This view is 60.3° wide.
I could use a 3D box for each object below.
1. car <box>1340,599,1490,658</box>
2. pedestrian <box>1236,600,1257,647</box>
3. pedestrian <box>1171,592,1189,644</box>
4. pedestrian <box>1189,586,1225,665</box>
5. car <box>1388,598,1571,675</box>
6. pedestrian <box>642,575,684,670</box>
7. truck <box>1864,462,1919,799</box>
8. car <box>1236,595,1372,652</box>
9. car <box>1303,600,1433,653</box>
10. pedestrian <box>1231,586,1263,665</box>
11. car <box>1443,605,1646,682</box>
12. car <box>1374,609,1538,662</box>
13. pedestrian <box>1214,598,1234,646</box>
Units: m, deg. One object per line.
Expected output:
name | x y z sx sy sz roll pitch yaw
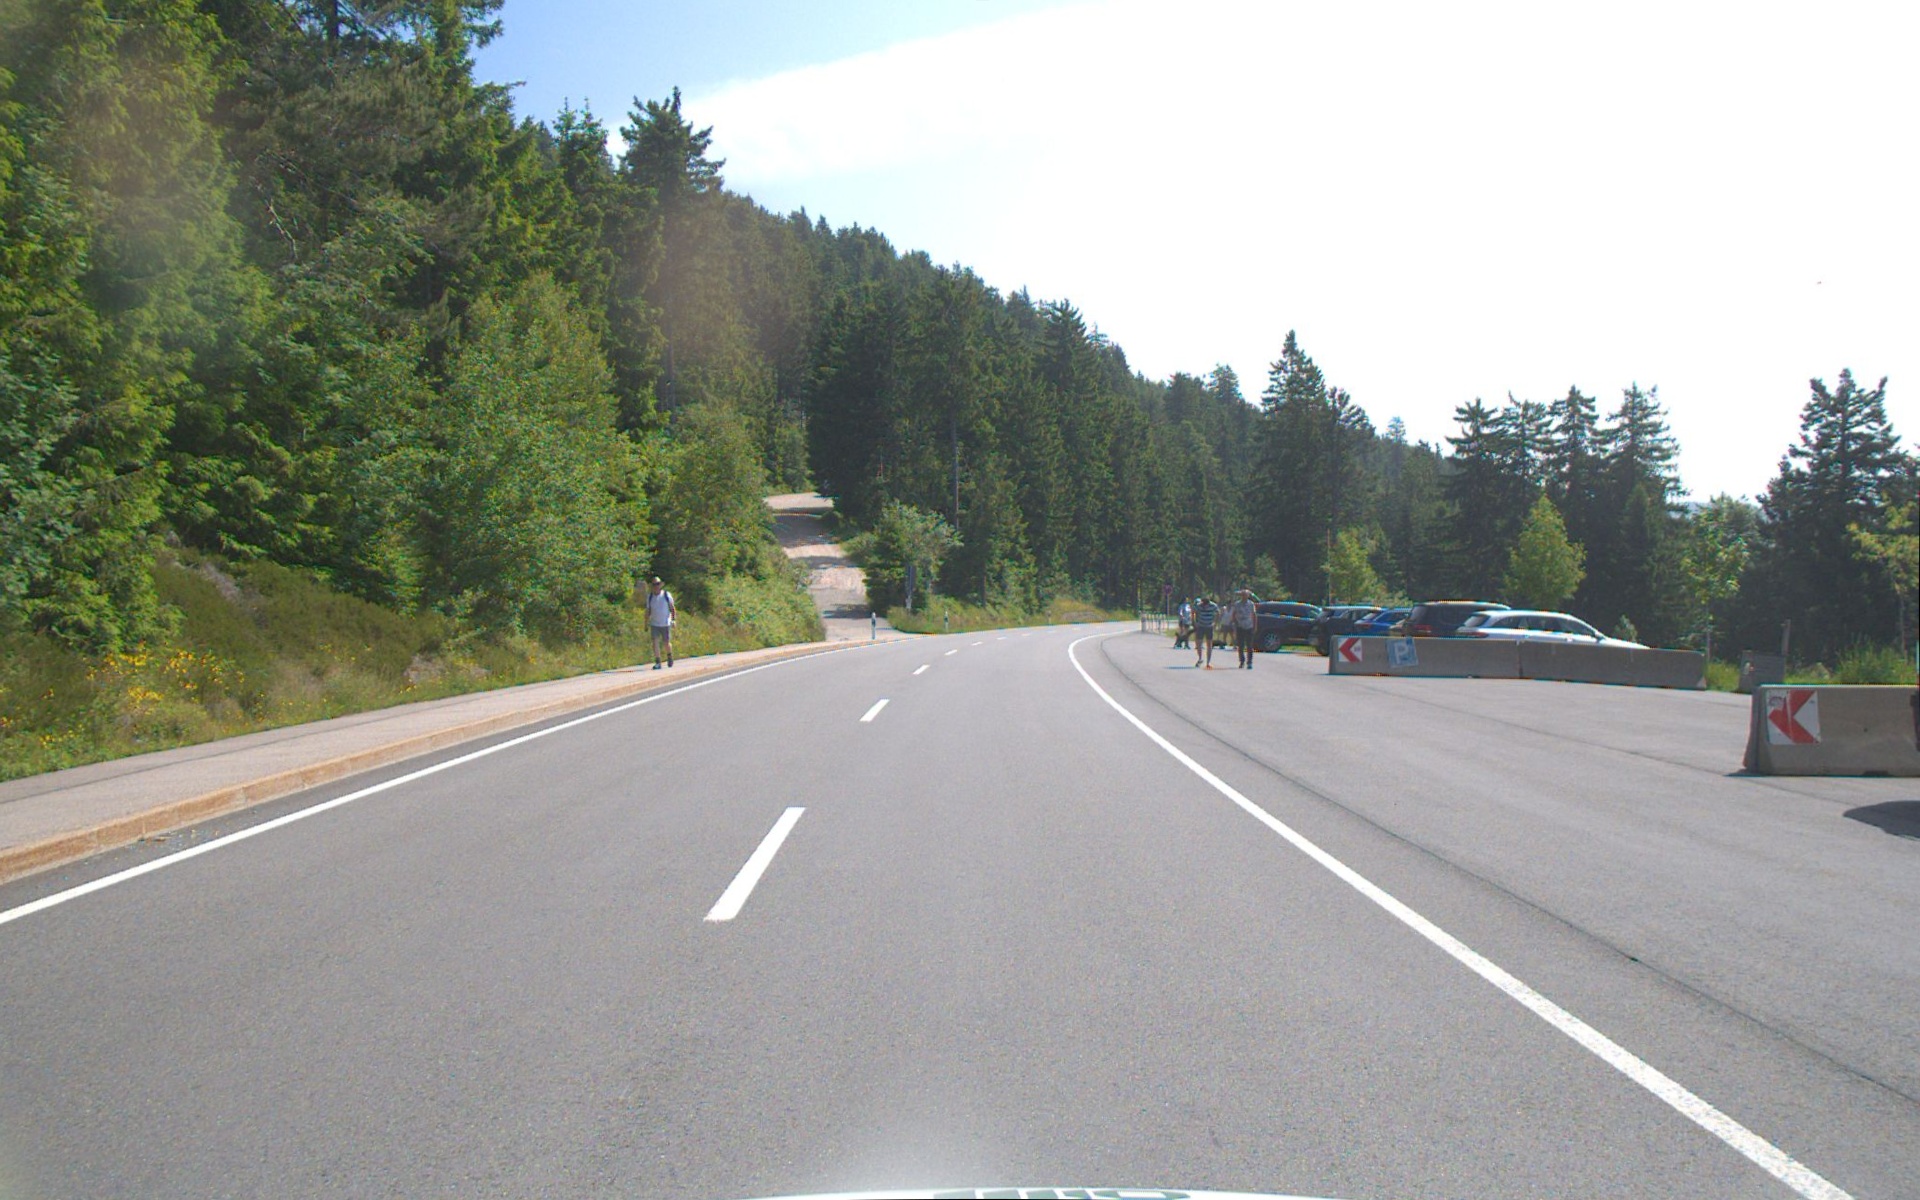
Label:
car | 13.532 0.841 49.326 3.907 1.562 1.807 1 3 -3
pedestrian | 10.054 0.816 58.069 0.604 1.615 0.735 0 1 20
pedestrian | 7.750 0.638 58.216 0.604 1.806 0.724 1 0 8
pedestrian | 5.642 0.571 37.735 0.737 1.791 0.776 0 0 14
car | 12.698 0.882 40.550 3.907 1.675 1.599 3 0 -3
pedestrian | -5.661 0.428 31.570 0.668 1.777 0.825 1 0 -3
truck | 10.582 0.238 12.586 6.131 2.636 2.340 0 0 1
car | 11.548 0.780 55.711 4.177 1.825 1.891 1 -1 -2
car | 12.957 0.833 52.608 3.678 1.595 1.598 1 0 -5
pedestrian | 6.505 0.570 37.467 0.651 1.771 0.895 0 0 14
car | 13.120 0.953 37.277 3.907 1.502 1.773 3 0 -2
car | 13.598 0.954 45.488 3.905 1.376 1.987 1 0 0
pedestrian | 9.426 0.772 59.099 0.638 1.689 0.688 0 1 14
